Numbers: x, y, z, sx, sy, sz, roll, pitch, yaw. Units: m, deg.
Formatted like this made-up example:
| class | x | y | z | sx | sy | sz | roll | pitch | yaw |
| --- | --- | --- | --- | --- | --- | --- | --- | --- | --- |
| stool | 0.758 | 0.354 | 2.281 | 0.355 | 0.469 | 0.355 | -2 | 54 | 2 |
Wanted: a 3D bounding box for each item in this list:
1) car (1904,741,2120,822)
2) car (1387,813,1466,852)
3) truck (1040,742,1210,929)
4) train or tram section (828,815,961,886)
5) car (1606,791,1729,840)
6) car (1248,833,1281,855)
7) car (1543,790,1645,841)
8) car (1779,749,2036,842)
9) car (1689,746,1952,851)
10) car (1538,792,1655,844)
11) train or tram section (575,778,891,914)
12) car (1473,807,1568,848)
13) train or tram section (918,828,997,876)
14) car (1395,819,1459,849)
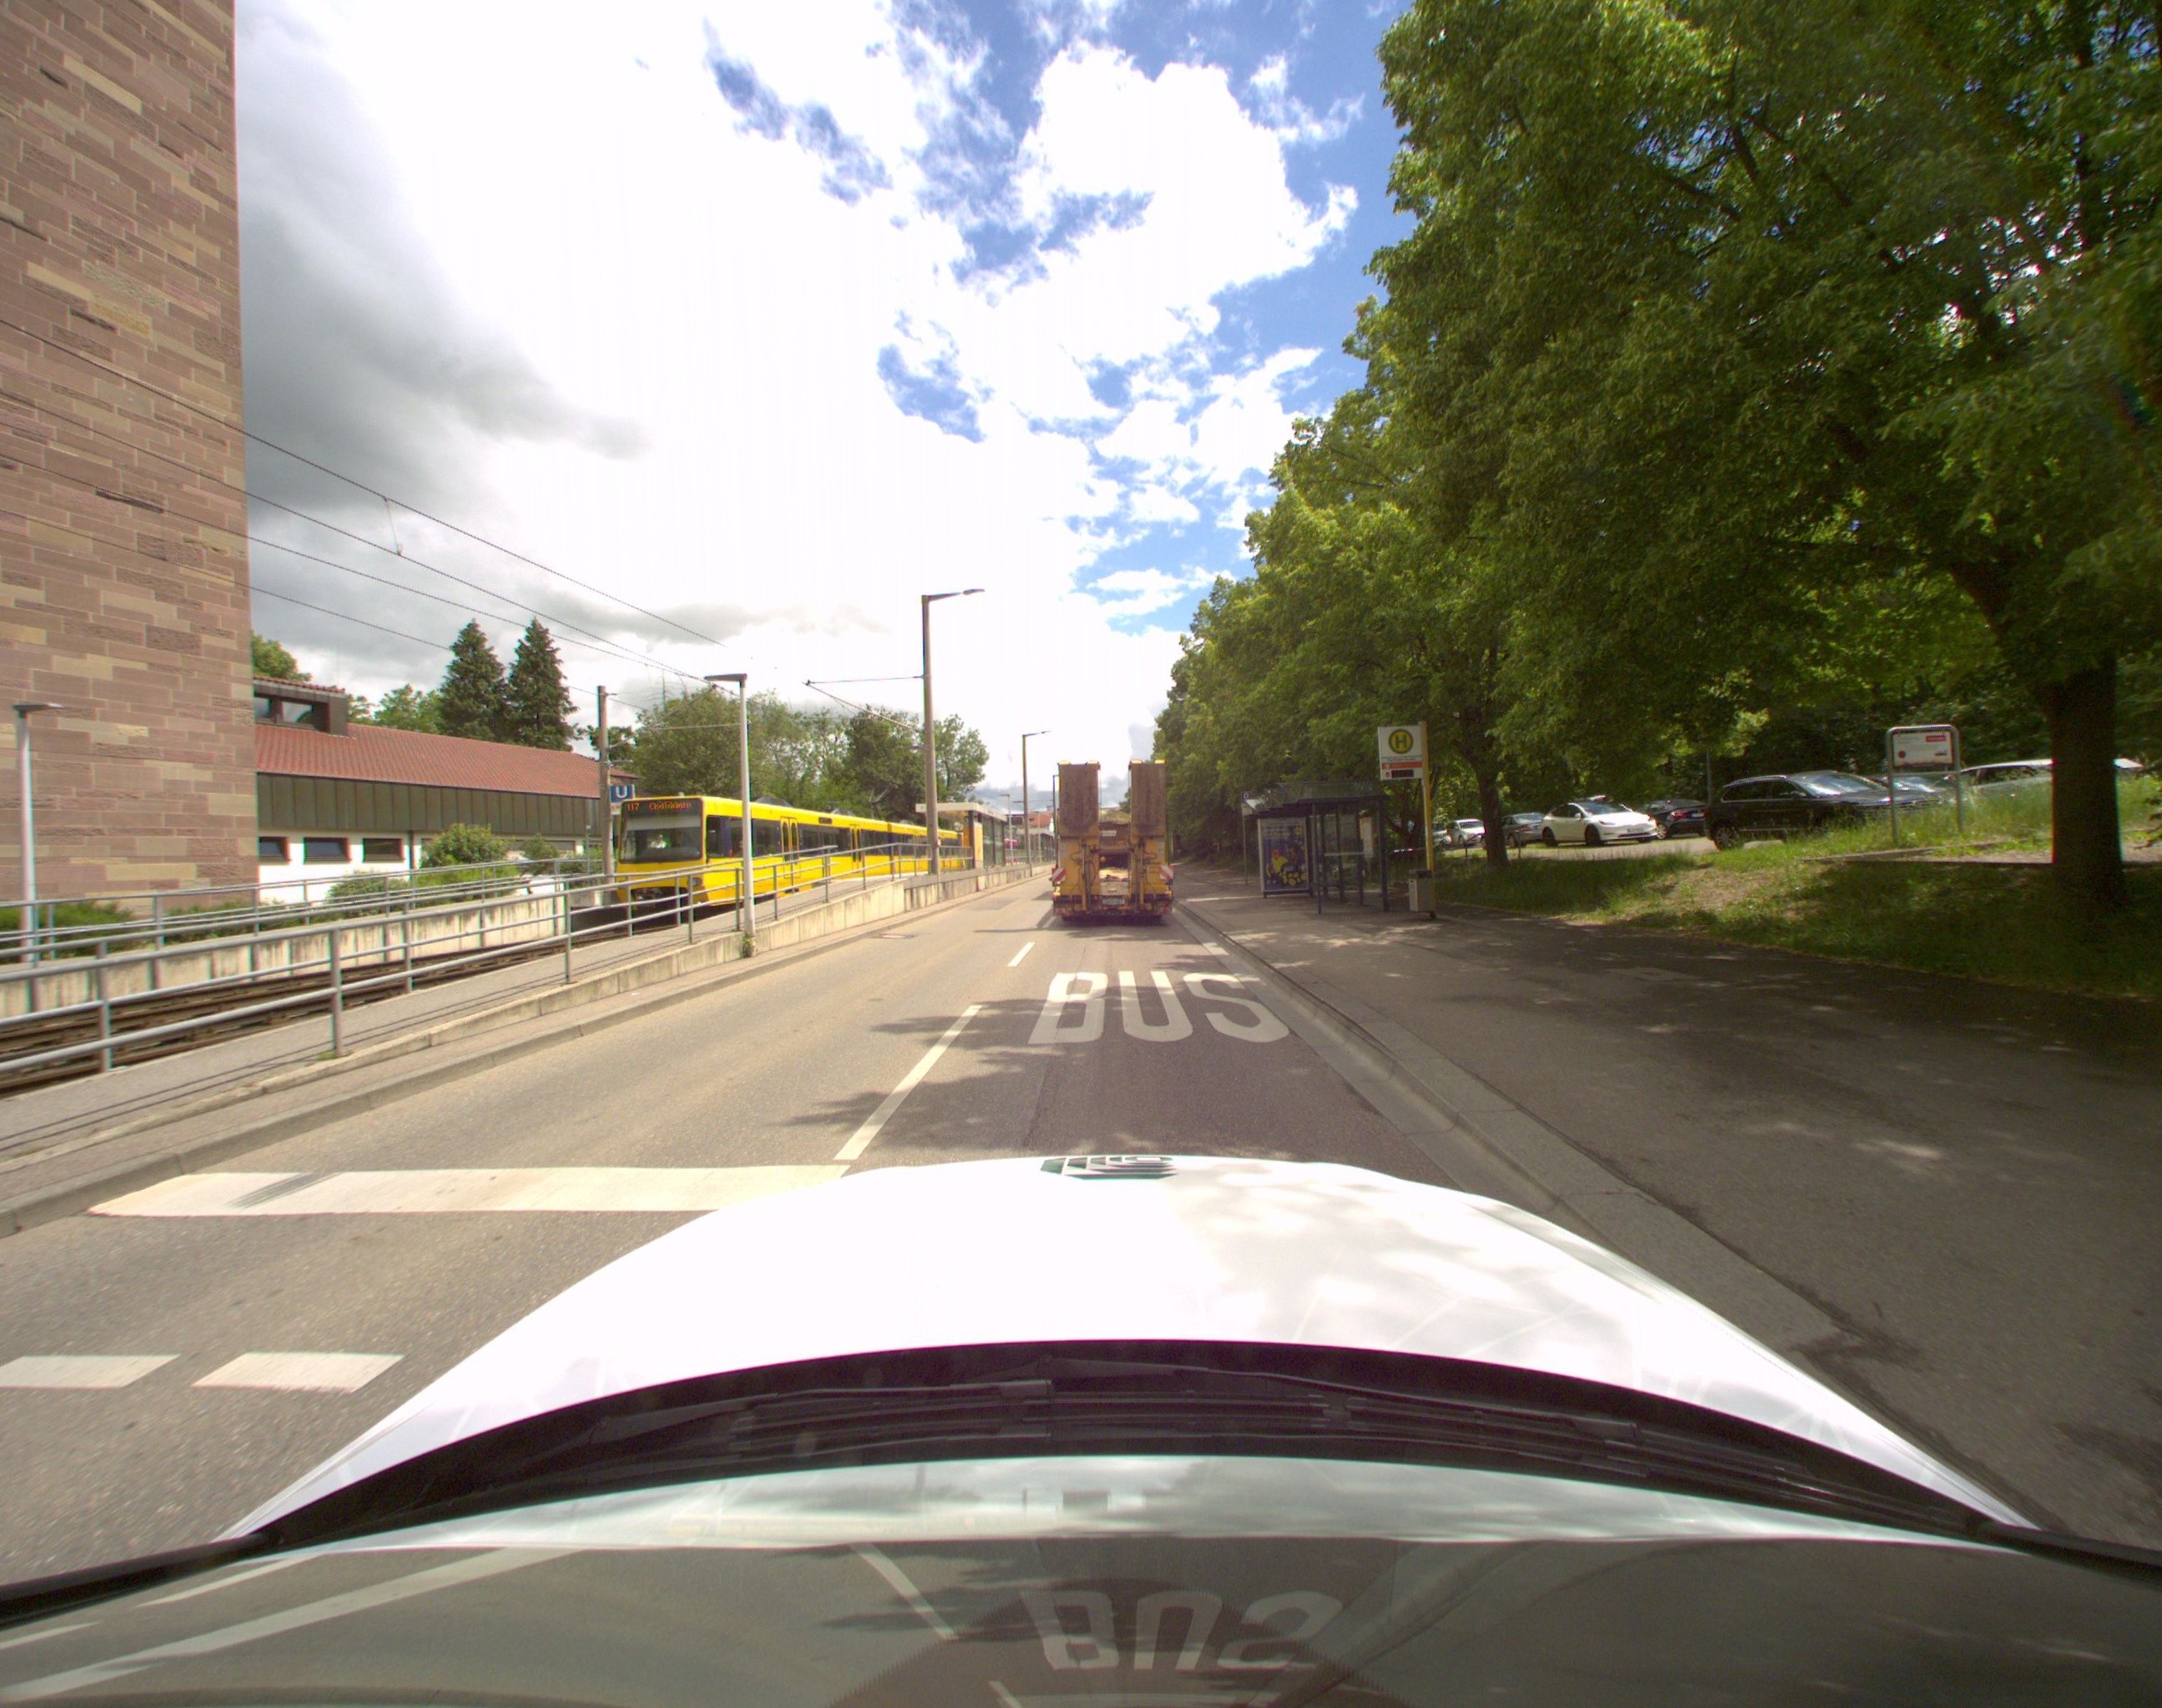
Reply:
| class | x | y | z | sx | sy | sz | roll | pitch | yaw |
| --- | --- | --- | --- | --- | --- | --- | --- | --- | --- |
| car | 20.467 | -1.539 | 18.073 | 1.403 | 1.303 | 2.859 | -6 | -2 | 1 |
| car | 16.160 | -0.953 | 38.341 | 1.839 | 1.662 | 4.726 | -2 | 0 | 2 |
| truck | 0.855 | -0.371 | 23.725 | 3.392 | 3.732 | 13.734 | -2 | 0 | -1 |
| train or tram section | -10.504 | -0.147 | 49.287 | 3.096 | 3.465 | 19.003 | -1 | 0 | 2 |
| car | 20.938 | -1.315 | 29.272 | 1.674 | 1.453 | 4.005 | -3 | 0 | 4 |
| car | 14.358 | -0.764 | 64.018 | 1.708 | 1.507 | 4.162 | -5 | -1 | 3 |
| car | 21.299 | -1.541 | 34.018 | 1.607 | 1.790 | 4.210 | -6 | 0 | 2 |
| car | 17.920 | -1.185 | 17.957 | 1.682 | 1.492 | 3.794 | -6 | -2 | 1 |
| car | 15.696 | -1.065 | 17.668 | 1.682 | 1.694 | 4.262 | -6 | -2 | 1 |
| car | 18.052 | -1.211 | 28.770 | 1.463 | 1.555 | 4.437 | -6 | 0 | 4 |
| train or tram section | -11.148 | -0.191 | 30.329 | 3.096 | 3.465 | 18.833 | -1 | 0 | 2 |
| car | 18.200 | -1.060 | 33.969 | 1.607 | 1.442 | 4.355 | -5 | 0 | 2 |
| train or tram section | -9.910 | -0.101 | 68.375 | 3.096 | 3.465 | 19.205 | -1 | 0 | 2 |
| car | 19.176 | -1.056 | 45.334 | 1.834 | 1.420 | 4.126 | -5 | 0 | 2 |
